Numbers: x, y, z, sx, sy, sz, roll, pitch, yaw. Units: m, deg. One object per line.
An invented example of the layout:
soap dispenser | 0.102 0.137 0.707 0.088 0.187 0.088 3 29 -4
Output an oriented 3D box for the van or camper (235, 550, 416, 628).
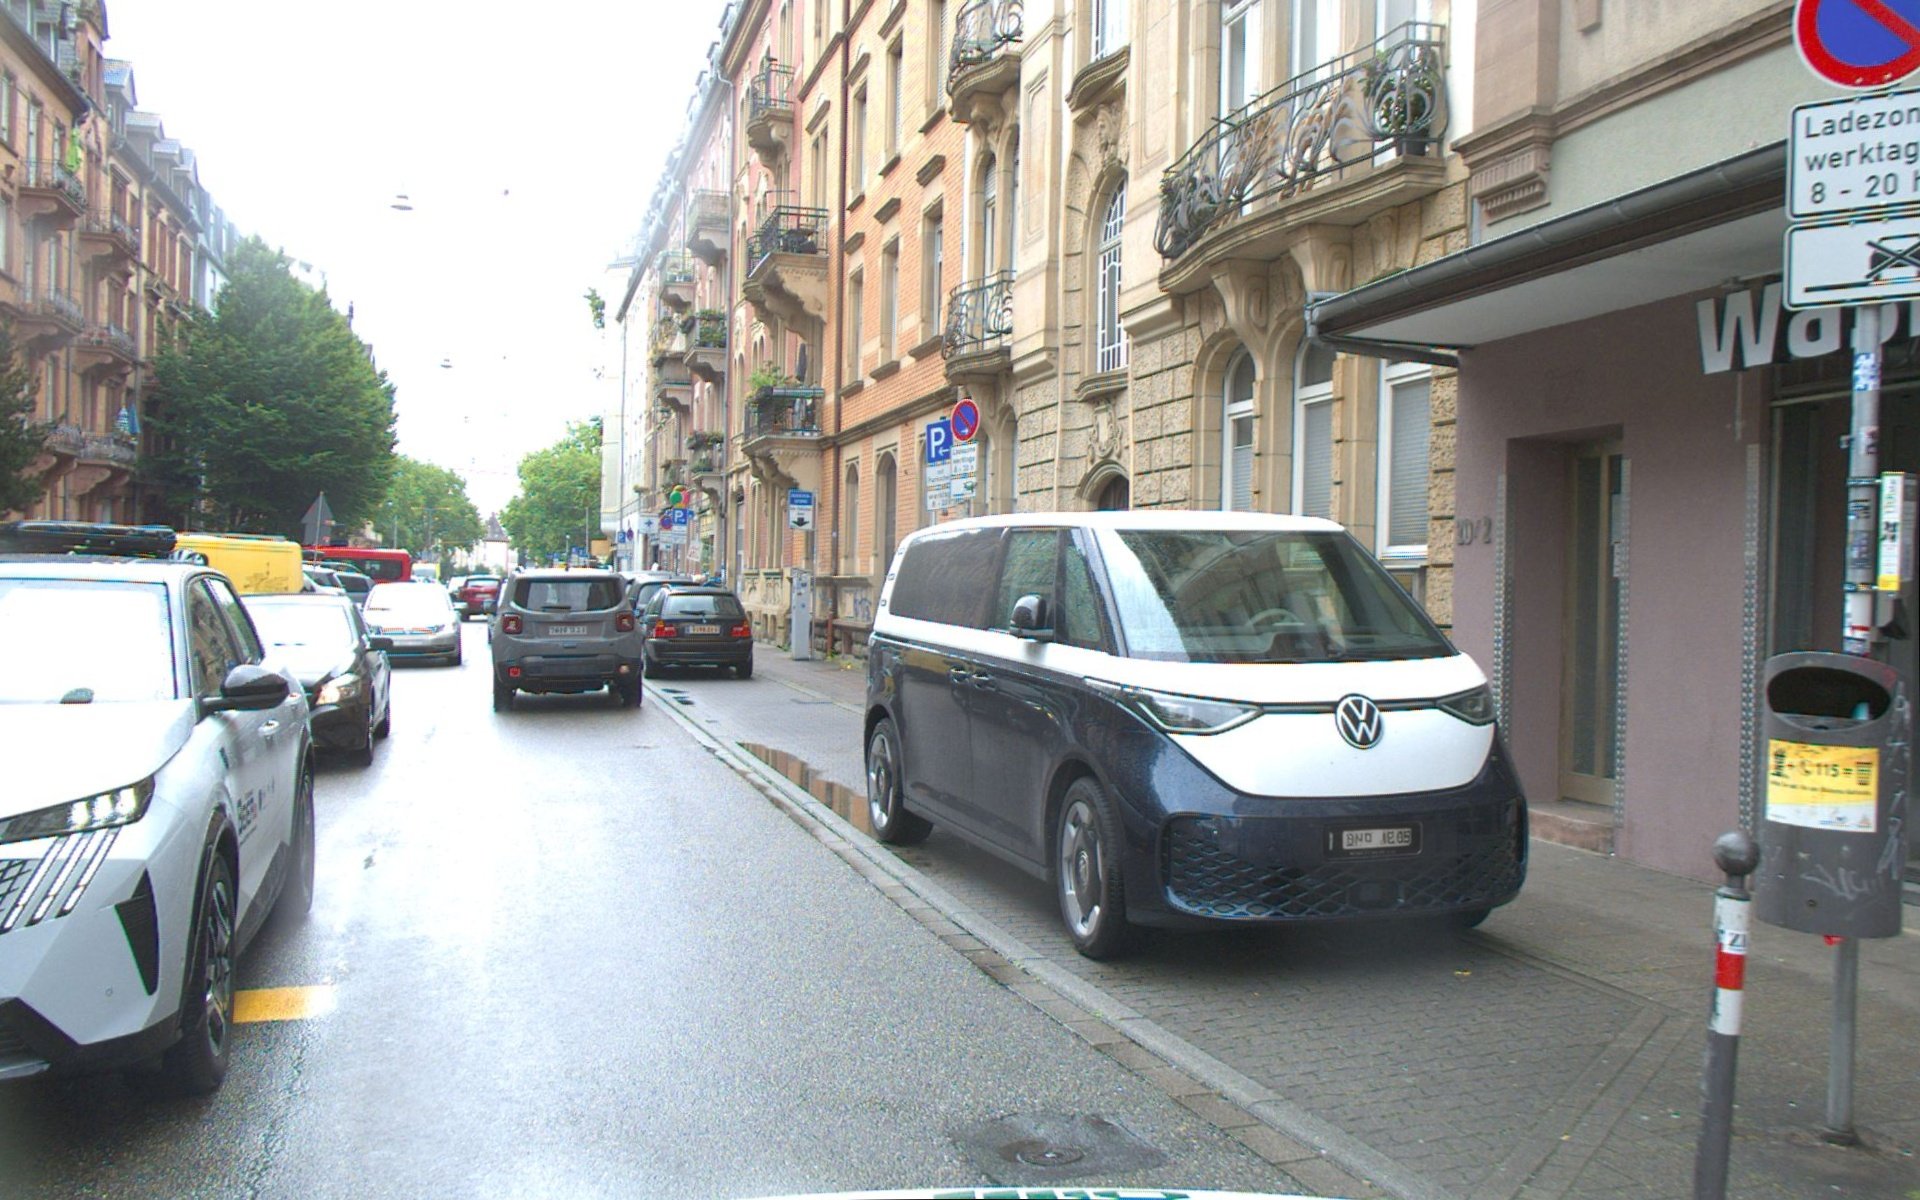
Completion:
van or camper | -20.579 -0.338 53.730 4.983 2.390 2.309 1 1 -42

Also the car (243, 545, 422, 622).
car | -22.223 -0.569 58.723 5.529 2.585 2.194 1 1 -44

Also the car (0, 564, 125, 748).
car | -10.095 0.439 14.973 1.766 1.691 4.119 2 -2 38

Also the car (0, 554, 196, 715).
car | -10.823 0.357 18.039 1.766 1.691 4.119 1 -3 38

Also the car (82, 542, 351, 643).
car | -16.620 -0.121 37.142 5.205 2.115 1.843 1 -1 -41

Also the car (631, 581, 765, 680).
car | -4.425 0.456 27.429 1.757 1.492 4.466 1 0 -15

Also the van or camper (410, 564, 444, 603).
van or camper | -39.766 -1.228 123.532 2.087 2.575 6.844 -3 0 -16

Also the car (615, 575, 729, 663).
car | -5.718 0.314 32.474 1.840 1.589 4.328 0 1 -15

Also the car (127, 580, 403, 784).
car | -6.039 0.648 14.810 1.766 1.520 4.120 -1 -1 -16

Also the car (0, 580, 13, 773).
car | -9.482 0.488 12.017 1.767 1.520 4.118 1 -3 39

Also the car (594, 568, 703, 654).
car | -7.106 0.221 37.387 1.962 1.810 4.804 0 0 -17

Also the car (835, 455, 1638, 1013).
car | 0.922 0.445 8.642 1.963 1.972 5.203 -1 1 -18

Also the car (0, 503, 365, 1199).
car | -3.434 0.588 6.107 1.827 1.689 4.990 0 1 -14

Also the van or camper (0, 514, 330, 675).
van or camper | -12.896 -0.043 26.497 2.146 2.307 4.699 3 0 41

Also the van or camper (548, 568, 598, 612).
van or camper | -17.643 -0.472 75.325 1.989 1.924 5.033 -1 1 -16

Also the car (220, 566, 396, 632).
car | -19.093 -0.009 48.540 4.407 1.659 1.816 4 -1 -42

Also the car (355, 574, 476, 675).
car | -10.179 0.399 31.188 1.766 1.519 4.566 5 1 -15

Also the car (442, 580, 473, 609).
car | -28.607 -0.316 94.139 1.644 1.586 3.983 1 0 -18

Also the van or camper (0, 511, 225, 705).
van or camper | -11.658 0.114 20.616 1.902 2.279 4.059 0 -3 42

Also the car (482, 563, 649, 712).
car | -5.187 0.411 21.344 1.868 1.700 4.485 0 0 -17

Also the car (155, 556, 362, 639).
car | -17.885 -0.055 42.433 4.505 1.816 2.534 3 0 -17
